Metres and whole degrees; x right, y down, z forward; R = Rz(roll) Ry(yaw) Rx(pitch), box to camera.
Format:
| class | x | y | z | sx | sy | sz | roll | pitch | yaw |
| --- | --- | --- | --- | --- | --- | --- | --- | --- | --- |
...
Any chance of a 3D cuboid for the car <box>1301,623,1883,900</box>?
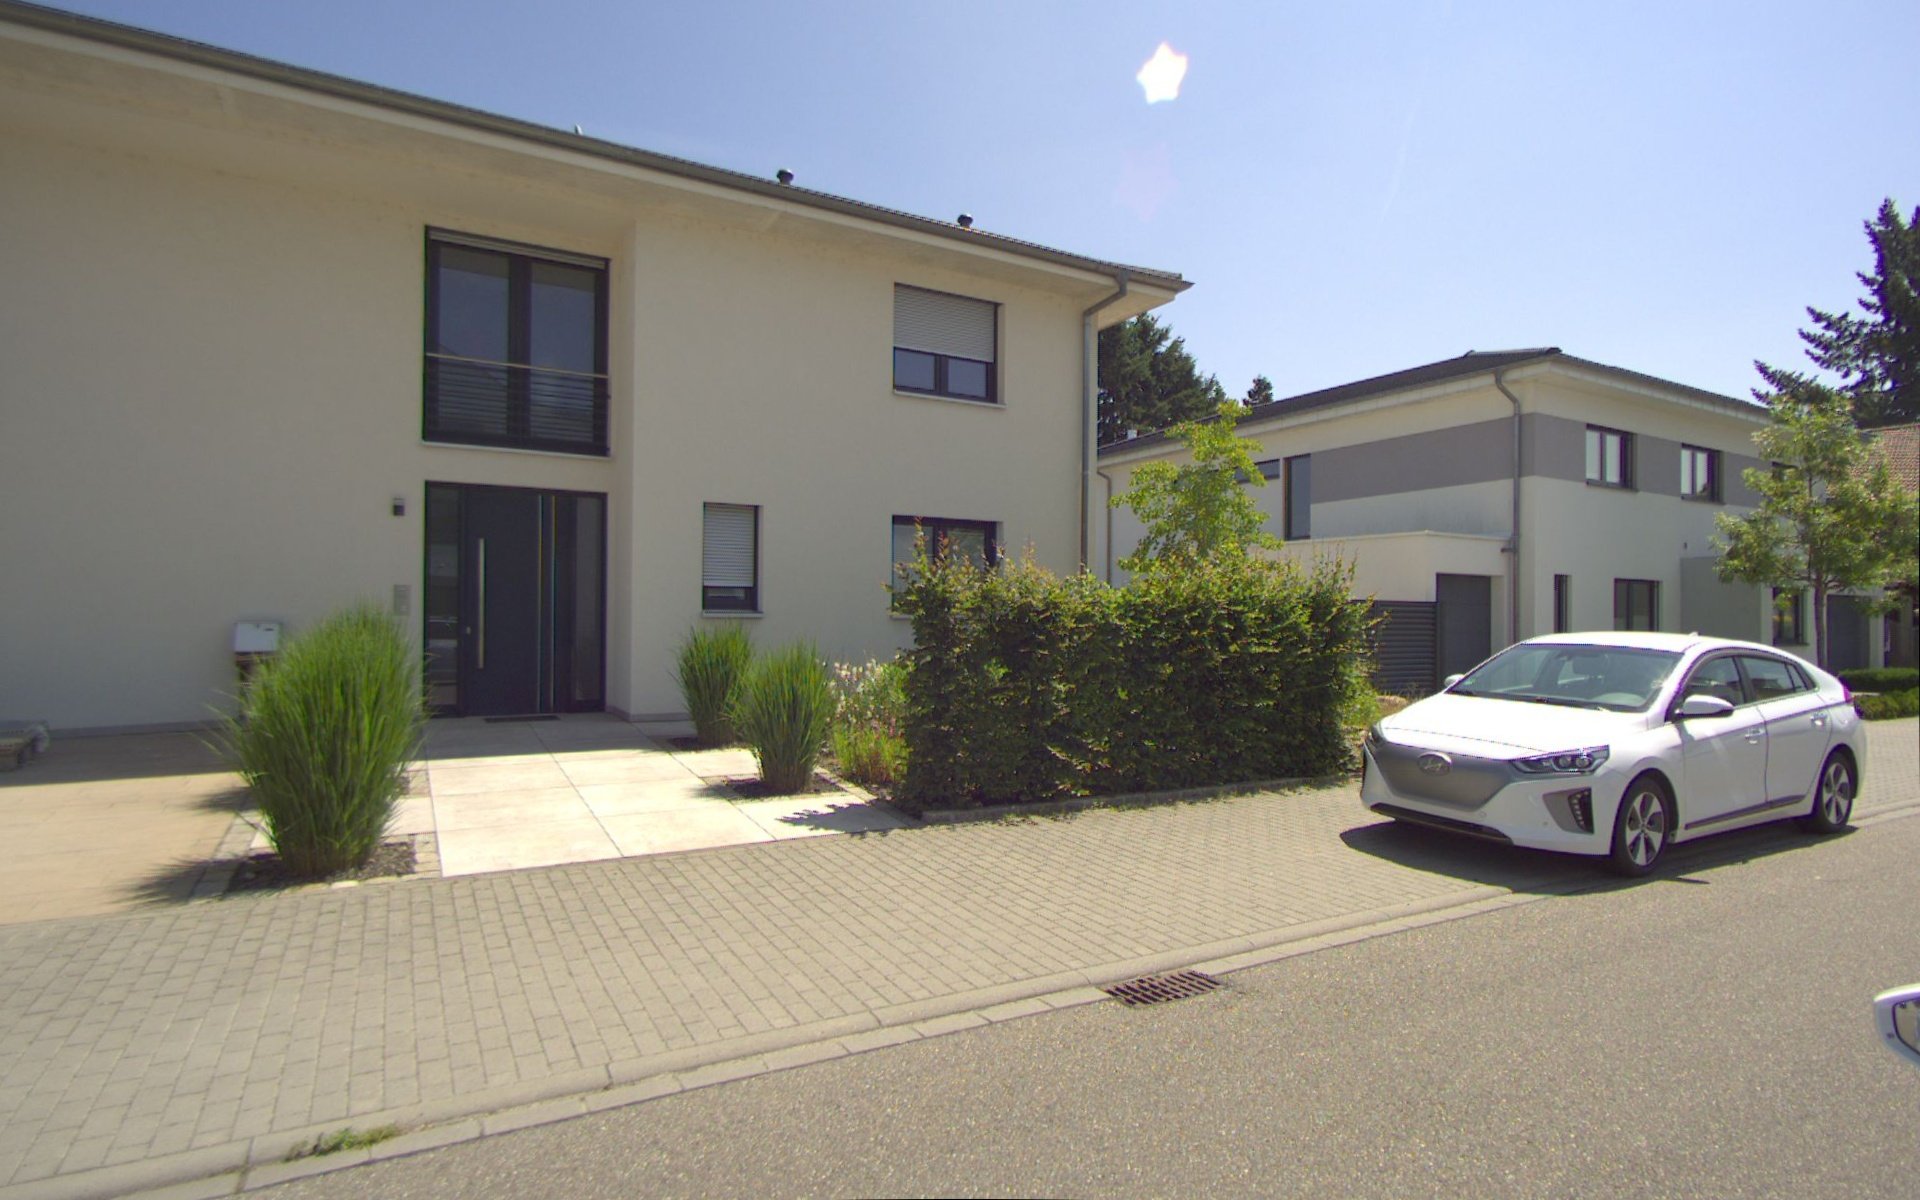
| class | x | y | z | sx | sy | sz | roll | pitch | yaw |
| --- | --- | --- | --- | --- | --- | --- | --- | --- | --- |
| car | 4.803 | 0.961 | 7.516 | 4.332 | 1.508 | 1.844 | 1 | 0 | -29 |
